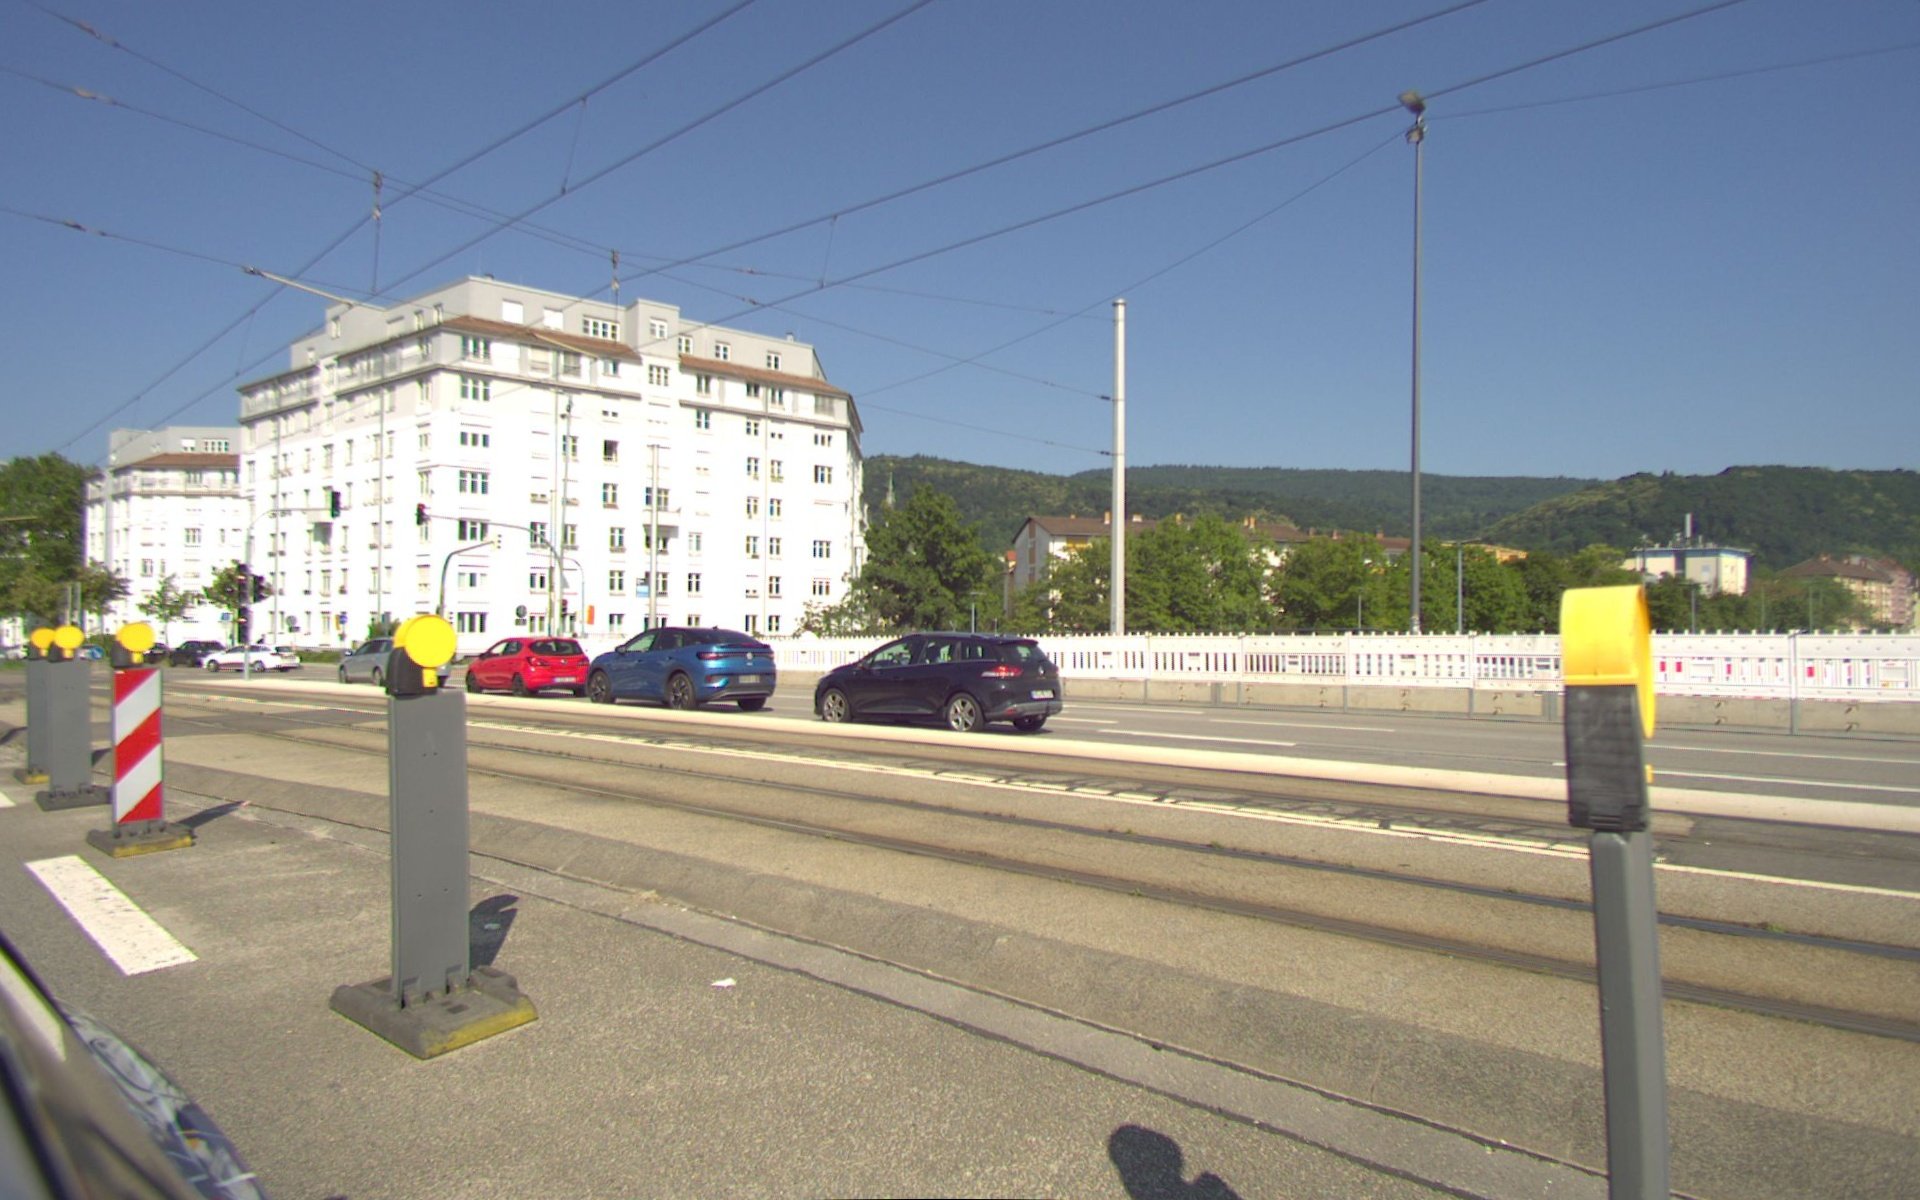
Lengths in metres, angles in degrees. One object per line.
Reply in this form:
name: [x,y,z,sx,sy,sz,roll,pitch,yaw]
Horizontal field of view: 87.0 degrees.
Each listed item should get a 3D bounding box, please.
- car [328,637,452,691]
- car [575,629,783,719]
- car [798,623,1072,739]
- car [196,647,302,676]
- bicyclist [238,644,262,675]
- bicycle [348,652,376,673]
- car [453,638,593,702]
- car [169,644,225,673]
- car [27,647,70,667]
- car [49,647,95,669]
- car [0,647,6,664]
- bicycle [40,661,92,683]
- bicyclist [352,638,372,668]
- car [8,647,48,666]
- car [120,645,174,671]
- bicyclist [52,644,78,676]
car: [-16.550,1.833,29.272,4.640,1.448,1.620,-2,-4,41]
car: [-5.558,1.380,19.699,4.553,1.562,1.652,-2,-4,41]
car: [-0.475,1.147,15.136,4.174,1.512,1.490,-2,-4,40]
car: [-35.941,3.108,51.178,4.434,1.423,1.698,-1,-3,8]
bicyclist: [-39.473,3.294,56.257,0.993,1.666,0.811,-3,-2,-34]
bicycle: [-32.003,3.328,54.166,1.781,1.108,0.611,-2,-1,34]
car: [-10.652,1.659,24.571,3.977,1.448,1.518,-2,-4,41]
car: [-46.934,3.581,62.233,3.732,1.650,1.719,-2,-2,36]
car: [-71.180,4.458,79.021,3.732,1.496,1.719,-2,-2,36]
car: [-64.795,4.197,73.843,3.732,1.496,1.719,-2,-2,36]
car: [-87.486,5.022,91.016,3.732,1.496,1.719,-2,-2,36]
bicycle: [-44.377,3.560,50.255,0.708,0.998,1.800,-2,-1,31]
bicyclist: [-31.996,2.835,54.163,0.915,1.602,0.617,-2,-2,33]
car: [-76.749,4.635,83.365,3.732,1.496,1.719,-2,-2,36]
car: [-53.866,3.830,67.051,3.730,1.650,1.720,-2,-2,34]
bicyclist: [-44.410,2.980,50.216,0.708,1.561,0.776,0,-1,32]
